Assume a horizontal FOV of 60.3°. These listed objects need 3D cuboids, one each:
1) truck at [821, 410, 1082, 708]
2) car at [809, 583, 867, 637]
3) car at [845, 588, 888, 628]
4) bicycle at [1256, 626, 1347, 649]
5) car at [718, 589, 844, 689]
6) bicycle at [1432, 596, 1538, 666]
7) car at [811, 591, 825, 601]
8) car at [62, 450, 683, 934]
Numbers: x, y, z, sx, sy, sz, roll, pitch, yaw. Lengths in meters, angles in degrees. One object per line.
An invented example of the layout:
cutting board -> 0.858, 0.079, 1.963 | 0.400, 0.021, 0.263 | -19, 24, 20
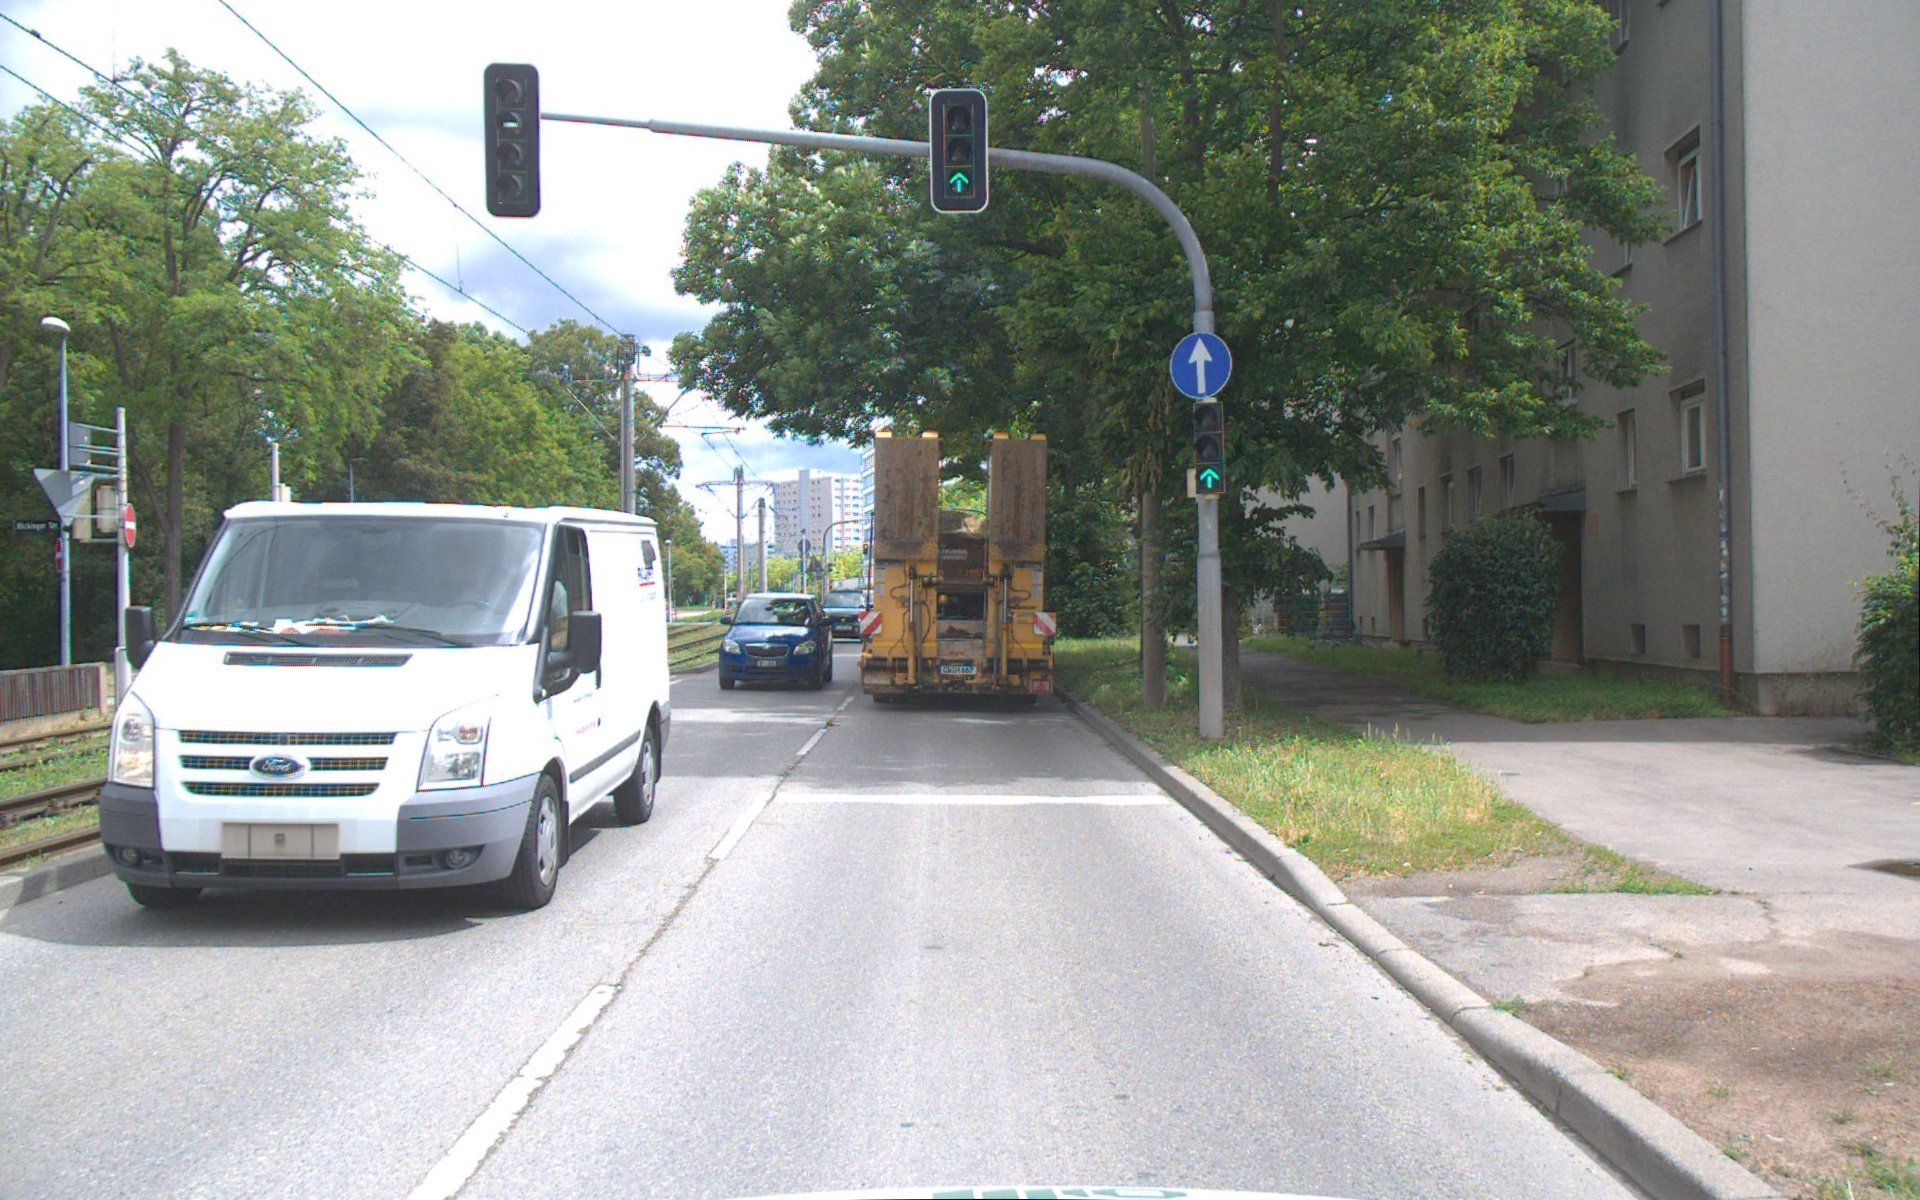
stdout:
truck -> -0.339, -0.452, 27.009 | 3.249, 3.715, 12.555 | 0, -1, -2
car -> -3.679, 0.284, 50.365 | 1.604, 1.560, 3.274 | 1, 1, -2
car -> -3.861, 0.314, 68.724 | 1.682, 1.571, 3.999 | 1, 1, -2
bicycle -> 8.358, 0.922, 40.514 | 2.157, 0.516, 0.674 | 1, -1, 10
car -> -2.872, 0.587, 27.164 | 1.549, 1.511, 3.807 | 1, 0, 1
bicycle -> 8.486, 0.488, 26.806 | 0.432, 1.099, 1.732 | 1, -1, -36
car -> -21.930, -0.662, 254.612 | 1.956, 1.445, 3.993 | 1, -1, -7
car -> -2.876, 0.382, 9.388 | 1.953, 2.031, 4.784 | 0, 0, -2
